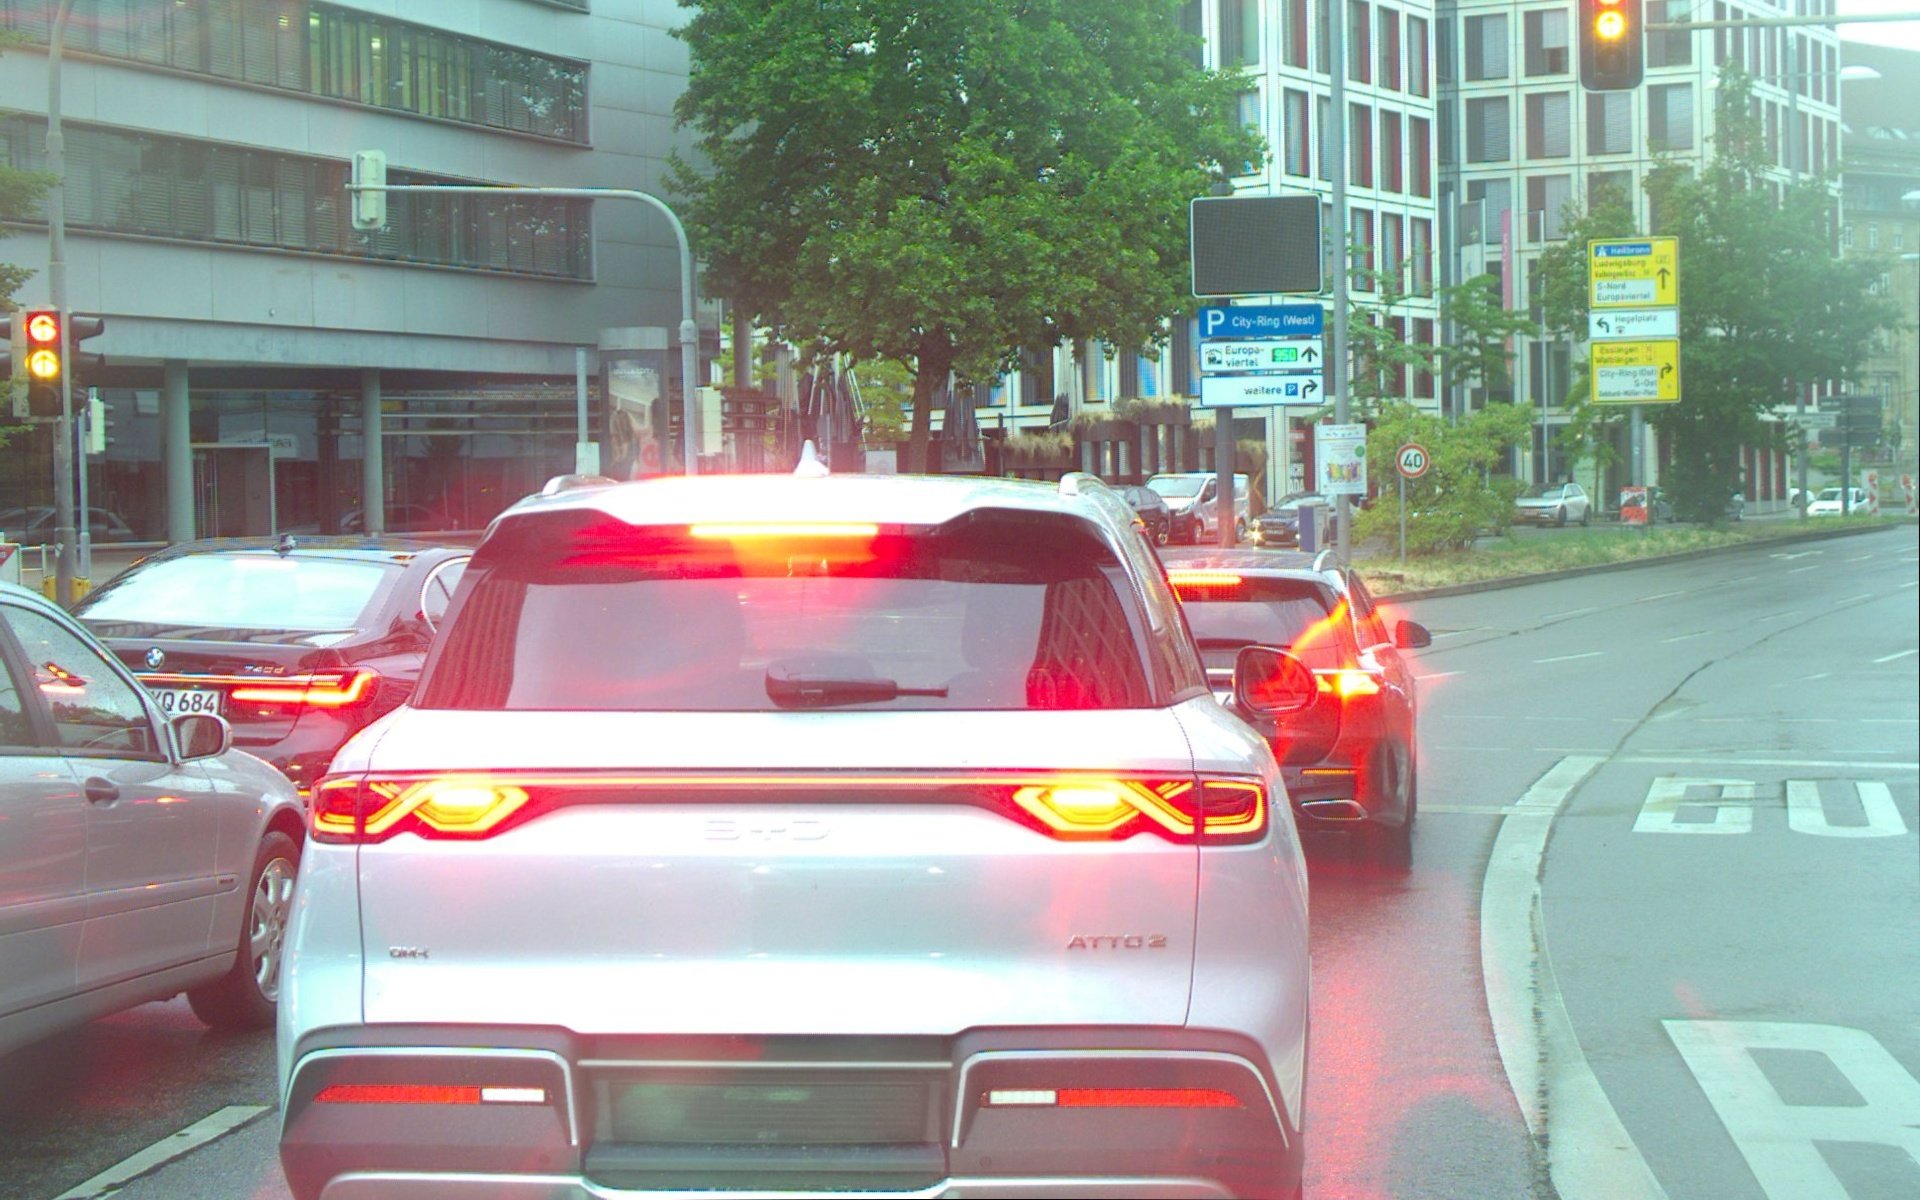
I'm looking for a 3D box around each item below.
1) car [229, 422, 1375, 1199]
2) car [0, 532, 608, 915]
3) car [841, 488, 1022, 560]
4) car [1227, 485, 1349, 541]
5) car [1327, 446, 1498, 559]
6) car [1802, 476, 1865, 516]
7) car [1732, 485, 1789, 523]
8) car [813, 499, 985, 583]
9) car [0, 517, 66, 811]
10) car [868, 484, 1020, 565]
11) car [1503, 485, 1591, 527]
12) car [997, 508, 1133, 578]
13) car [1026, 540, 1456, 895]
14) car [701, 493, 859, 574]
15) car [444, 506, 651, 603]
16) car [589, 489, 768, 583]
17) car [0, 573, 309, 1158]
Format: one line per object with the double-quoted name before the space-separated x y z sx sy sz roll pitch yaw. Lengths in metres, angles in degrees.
"car" -0.201 0.549 7.360 1.776 1.673 4.000 1 1 2
"car" -2.795 0.465 15.523 1.571 1.481 3.999 1 1 7
"car" -0.568 -1.678 75.084 1.816 1.505 5.189 0 2 26
"car" 9.016 -2.397 94.306 1.996 1.483 3.994 0 2 27
"car" 8.603 -1.813 65.004 1.996 2.007 4.843 1 1 23
"car" 31.672 -3.775 124.641 1.633 1.432 3.903 0 2 23
"car" 38.095 -4.555 163.483 1.609 1.735 3.439 1 1 32
"car" -1.006 -0.995 58.849 1.692 1.380 3.865 1 1 19
"car" -5.877 0.323 16.270 1.707 1.481 3.998 1 1 9
"car" -0.278 -1.508 68.753 1.645 1.575 4.081 1 1 21
"car" 20.973 -3.365 122.774 1.996 1.483 3.994 0 2 27
"car" 2.527 -1.366 81.330 1.633 1.553 4.588 0 2 23
"car" 1.473 0.477 16.632 1.694 1.481 3.998 1 1 10
"car" -3.588 -1.322 69.098 1.640 1.565 3.714 1 1 25
"car" -7.262 -0.825 60.892 1.996 1.605 3.996 2 2 20
"car" -4.751 -1.095 58.543 1.645 1.530 4.149 1 1 16
"car" -3.047 0.635 8.885 1.571 1.402 4.108 1 1 6
